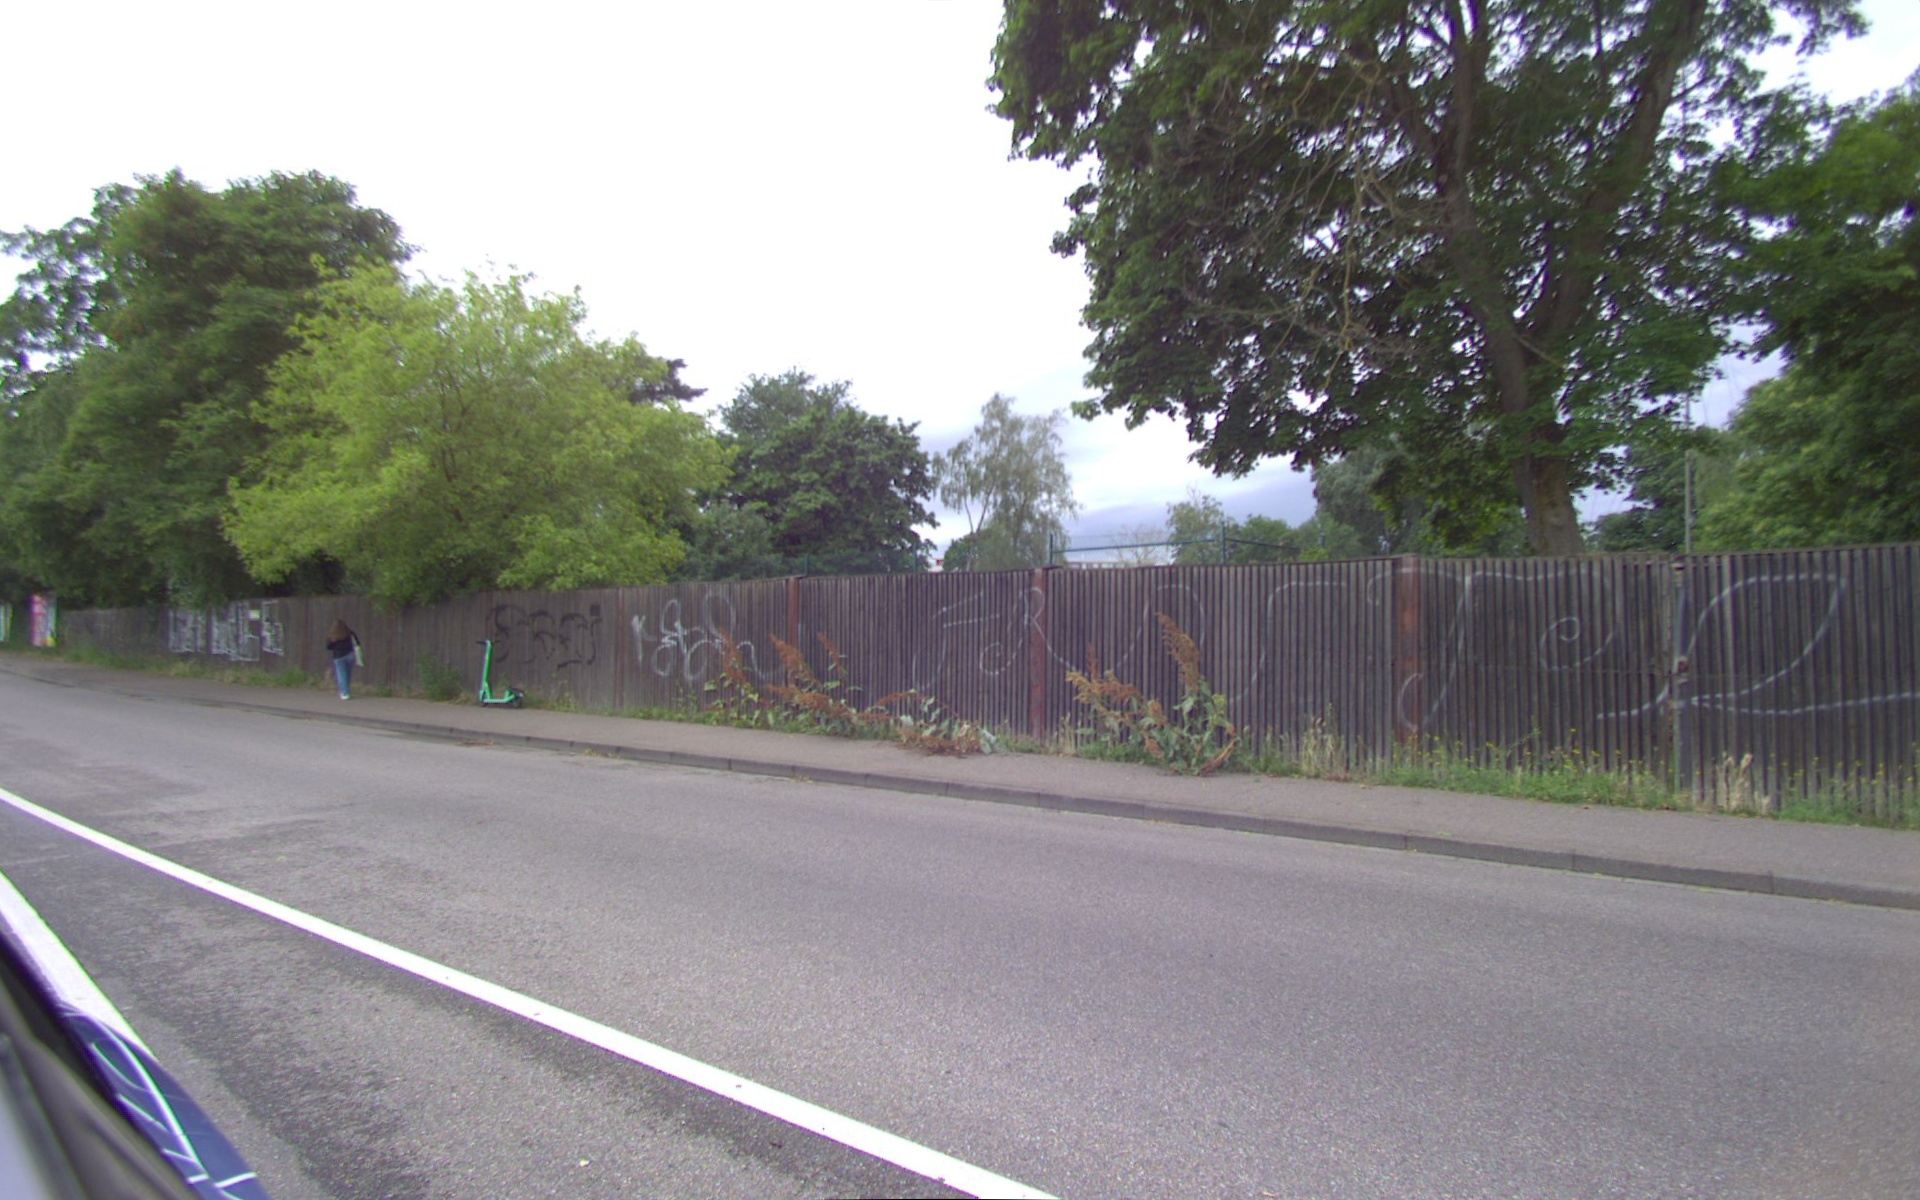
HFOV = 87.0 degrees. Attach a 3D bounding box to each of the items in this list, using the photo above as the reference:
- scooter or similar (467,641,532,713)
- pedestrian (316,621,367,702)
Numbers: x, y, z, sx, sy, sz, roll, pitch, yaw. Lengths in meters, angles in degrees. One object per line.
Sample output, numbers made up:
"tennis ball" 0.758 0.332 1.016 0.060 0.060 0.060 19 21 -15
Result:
"scooter or similar" -7.823 1.284 17.174 1.301 1.179 0.419 -1 -2 36
"pedestrian" -12.012 1.174 19.644 0.723 1.541 0.606 -2 -2 36
